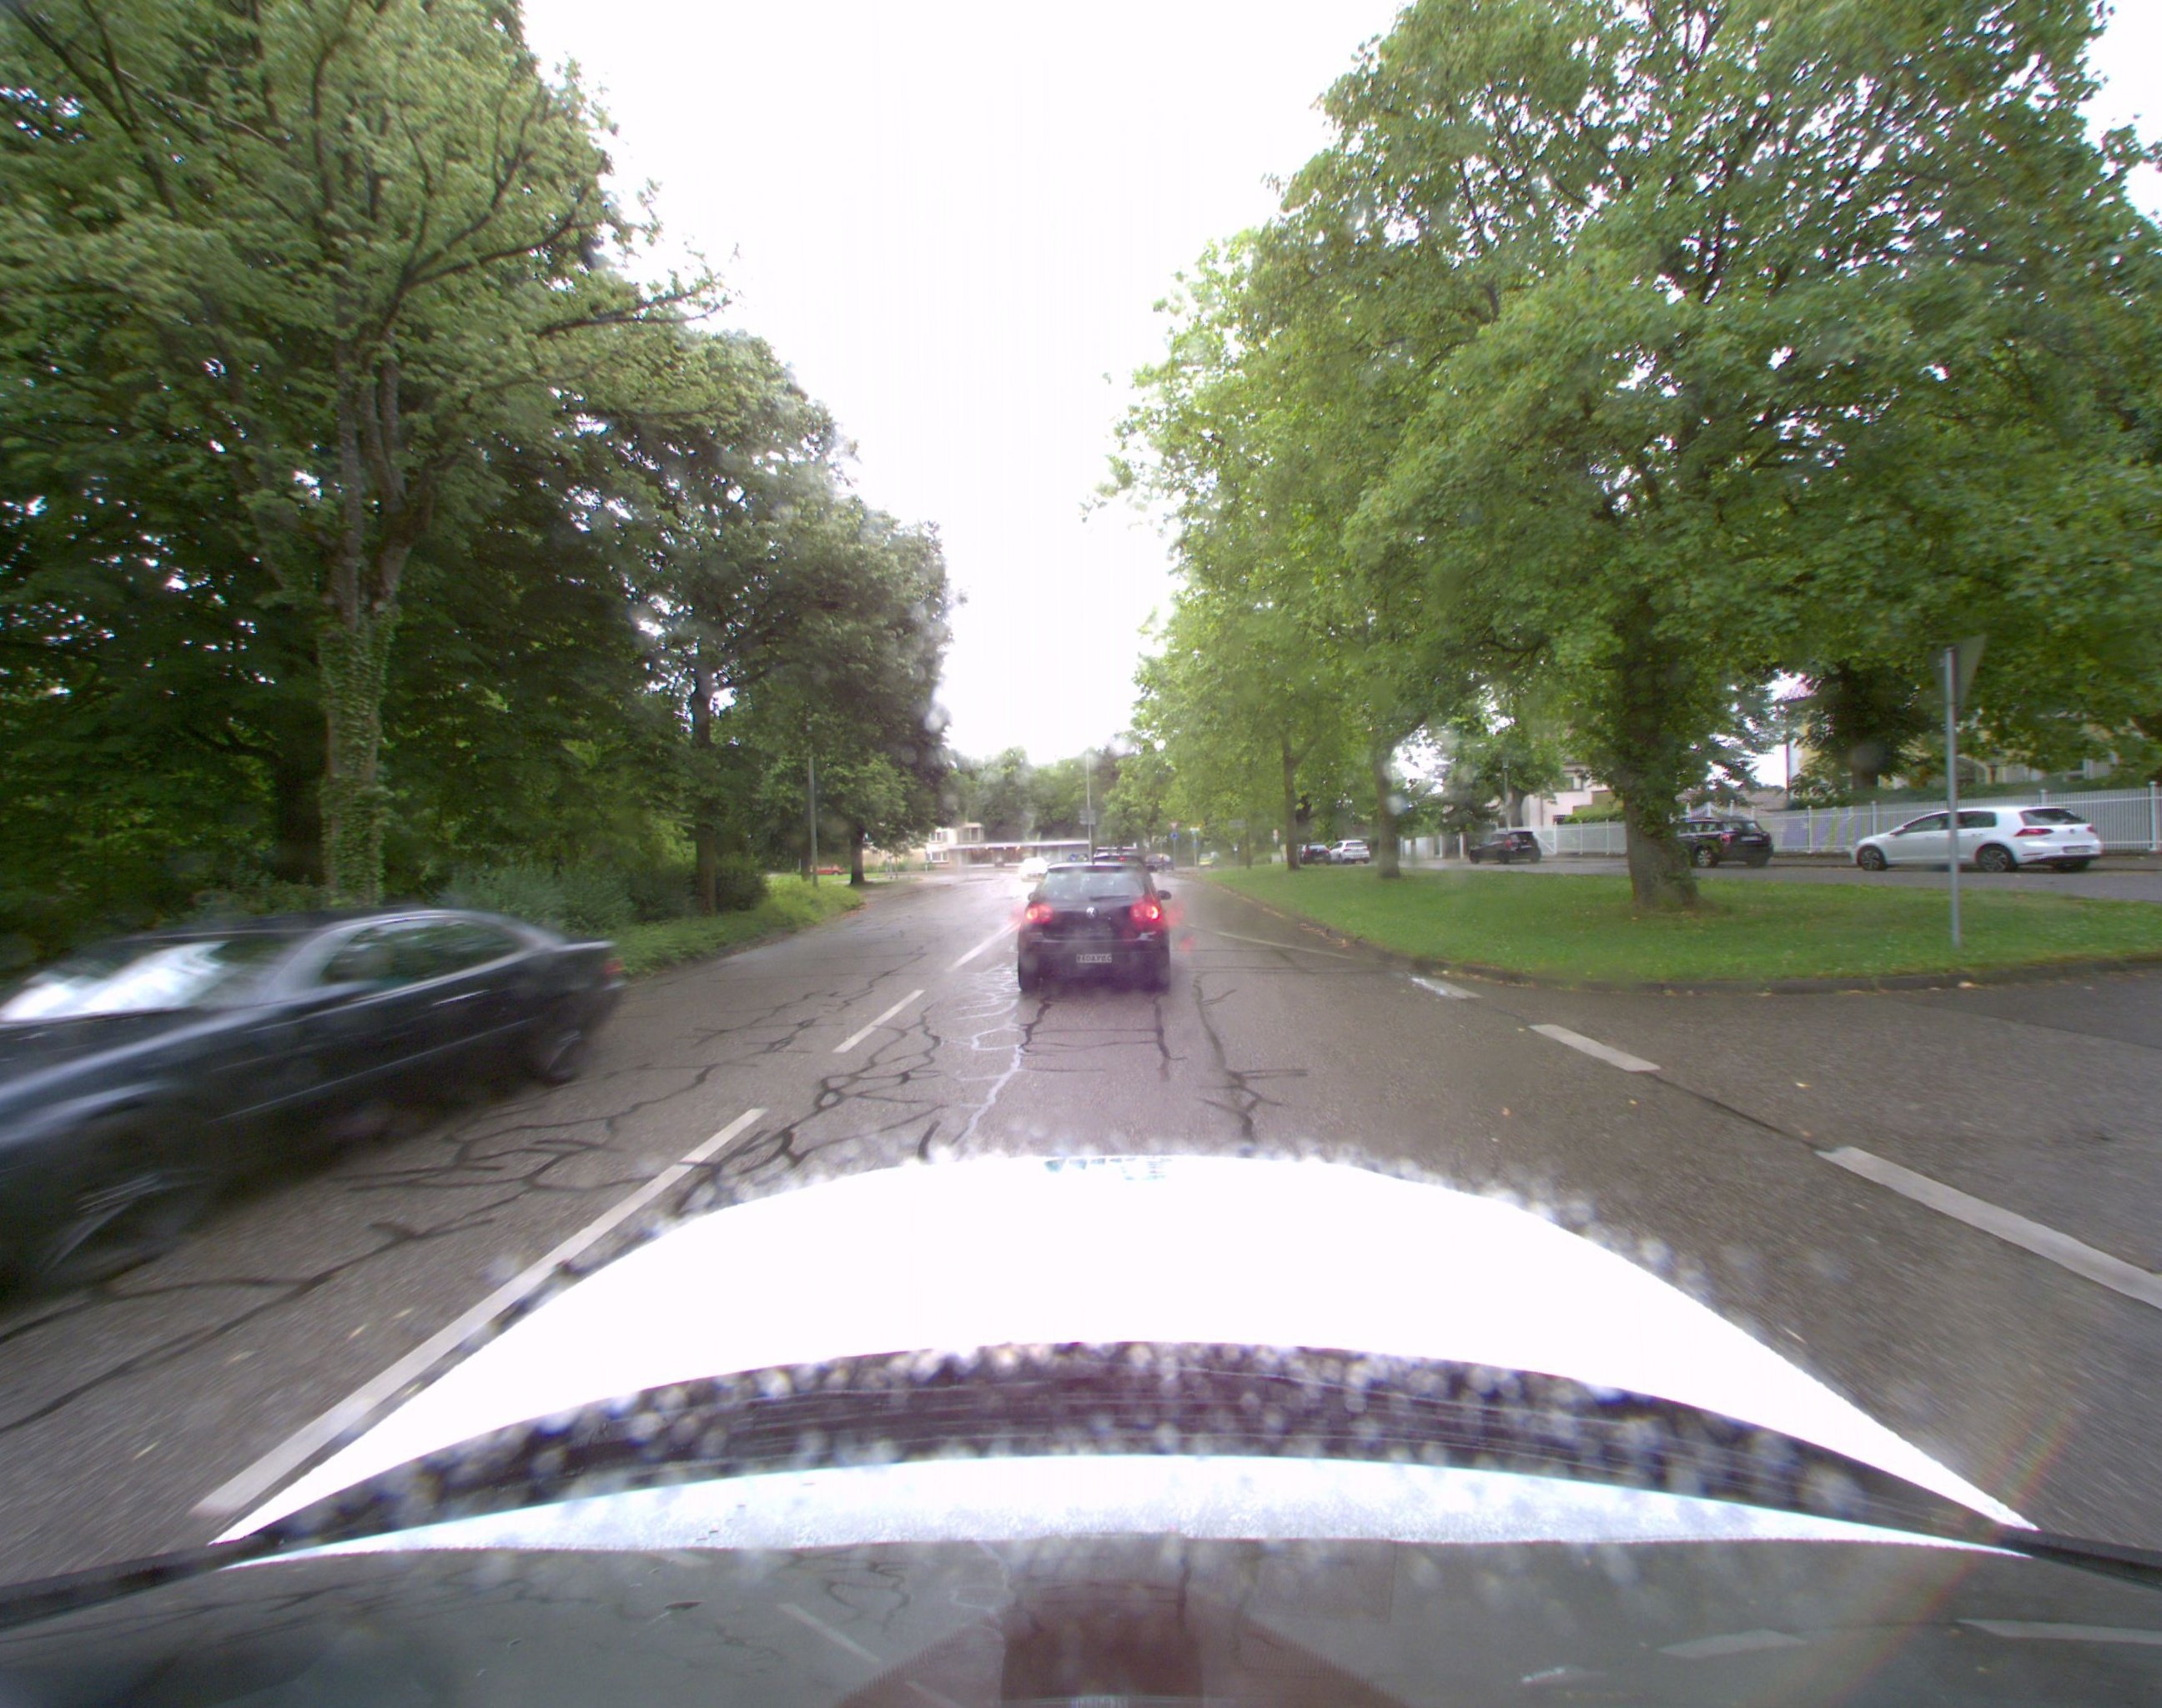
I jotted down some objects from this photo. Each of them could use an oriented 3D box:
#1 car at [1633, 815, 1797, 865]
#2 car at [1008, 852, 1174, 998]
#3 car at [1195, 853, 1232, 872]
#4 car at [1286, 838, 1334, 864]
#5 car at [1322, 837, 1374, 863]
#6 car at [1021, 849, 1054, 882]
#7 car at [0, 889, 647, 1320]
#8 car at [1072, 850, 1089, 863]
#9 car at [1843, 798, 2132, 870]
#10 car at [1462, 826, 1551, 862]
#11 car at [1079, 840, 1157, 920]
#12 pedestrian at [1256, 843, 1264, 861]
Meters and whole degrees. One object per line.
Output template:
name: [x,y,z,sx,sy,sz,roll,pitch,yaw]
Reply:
car: [19.995,-0.393,25.945,1.988,1.471,4.122,0,-1,-1]
car: [0.171,0.771,10.645,1.758,1.538,4.001,0,-1,2]
car: [12.873,0.836,79.033,1.796,1.750,4.025,-1,-1,37]
car: [14.378,-0.154,51.416,1.758,1.471,4.600,-4,-1,2]
car: [16.835,-0.249,51.599,1.839,1.471,4.426,-3,-1,1]
car: [-2.874,0.749,52.849,1.990,2.014,4.565,0,-1,-5]
car: [-4.614,1.003,4.692,1.759,1.349,4.377,-3,-1,1]
car: [-0.035,0.292,100.420,1.809,1.486,3.826,-3,0,-4]
car: [20.357,-0.397,18.609,1.988,1.449,4.122,0,-1,-1]
car: [19.891,-0.420,38.302,1.755,1.471,4.354,-3,0,-1]
car: [0.934,0.623,21.354,1.758,1.801,4.248,-3,-1,2]
pedestrian: [17.014,-0.161,77.234,0.528,1.713,0.633,0,-1,-11]
